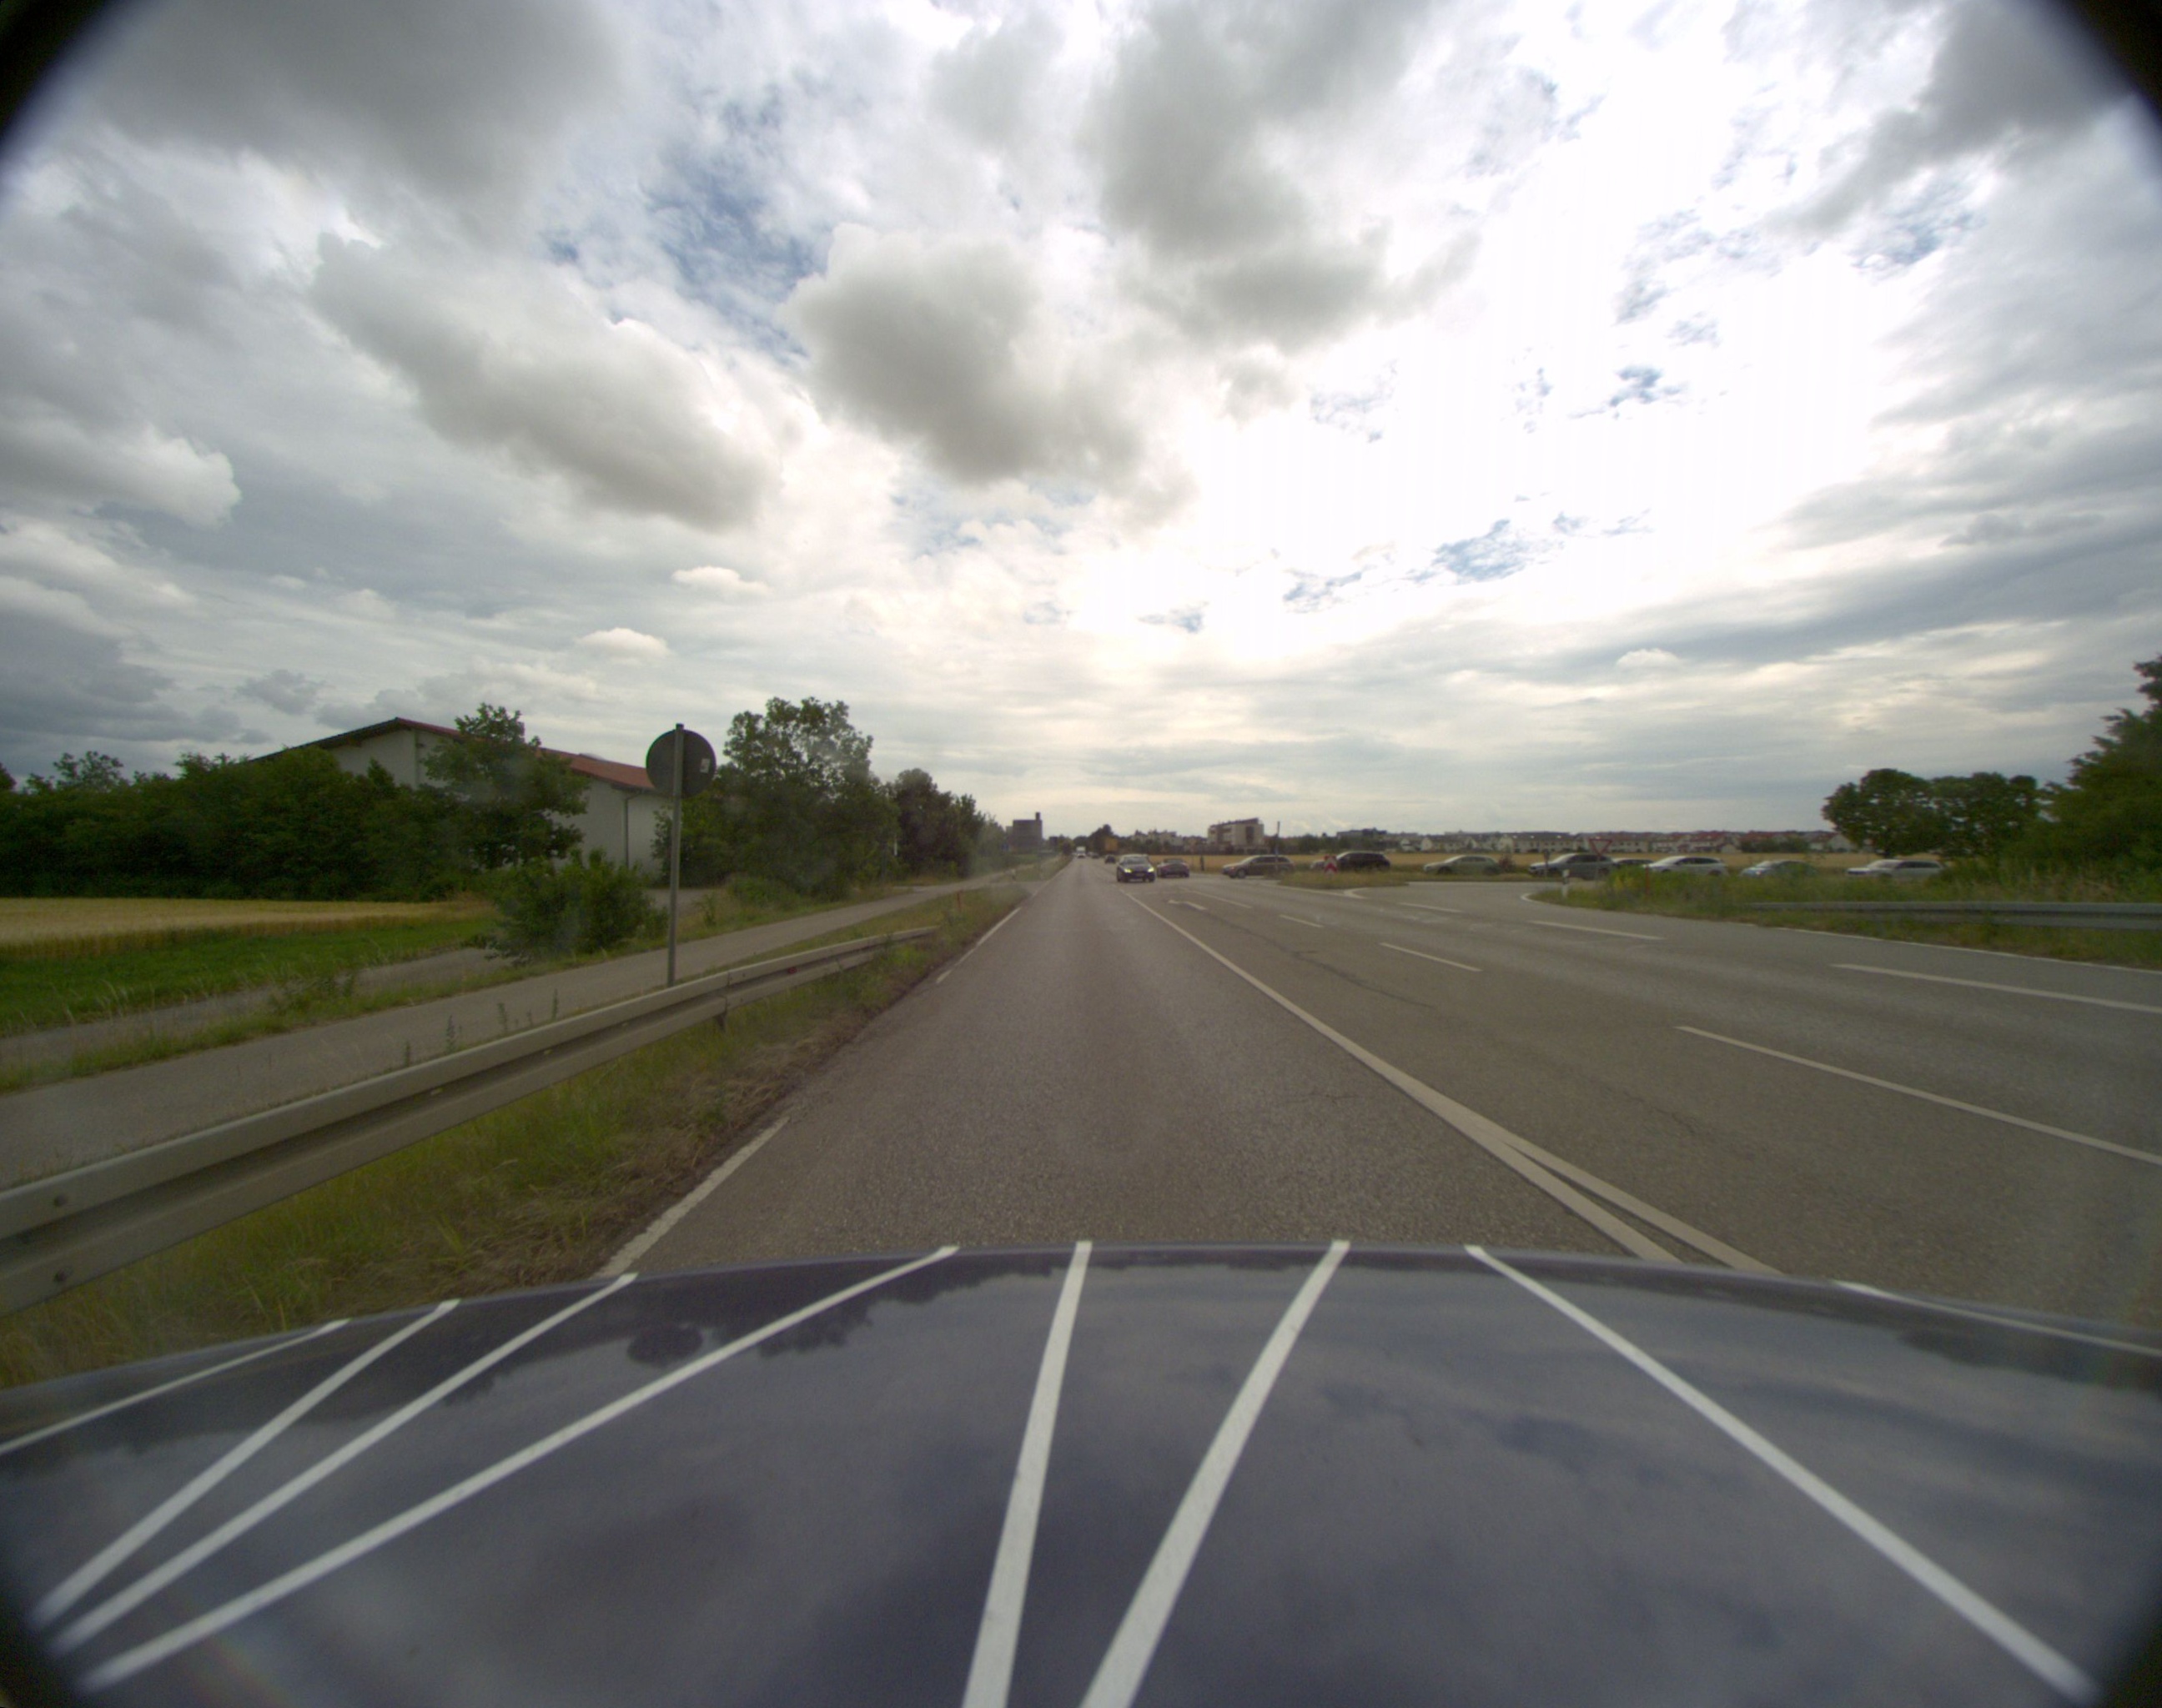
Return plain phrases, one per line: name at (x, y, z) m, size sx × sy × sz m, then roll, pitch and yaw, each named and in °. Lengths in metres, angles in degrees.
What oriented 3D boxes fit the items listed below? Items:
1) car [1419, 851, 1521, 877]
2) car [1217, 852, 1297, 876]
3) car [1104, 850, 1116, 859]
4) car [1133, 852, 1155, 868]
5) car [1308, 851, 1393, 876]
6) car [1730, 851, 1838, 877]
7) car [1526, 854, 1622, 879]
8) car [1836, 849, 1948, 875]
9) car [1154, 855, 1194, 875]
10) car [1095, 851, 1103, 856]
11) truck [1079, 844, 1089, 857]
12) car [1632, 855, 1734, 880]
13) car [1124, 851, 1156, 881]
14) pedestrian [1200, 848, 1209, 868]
car at (24.176, 0.609, 47.378) m, size 5.295 × 1.512 × 1.912 m, roll 0°, pitch 1°, yaw 6°
car at (10.934, 0.634, 47.418) m, size 4.465 × 1.416 × 1.909 m, roll -1°, pitch 1°, yaw -8°
car at (4.926, 0.101, 129.355) m, size 1.683 × 1.512 × 4.395 m, roll -2°, pitch 1°, yaw 0°
car at (6.243, 0.601, 75.213) m, size 1.746 × 1.521 × 4.198 m, roll -1°, pitch 0°, yaw -1°
car at (16.902, 0.568, 47.810) m, size 4.749 × 1.523 × 1.912 m, roll 0°, pitch 1°, yaw 6°
car at (42.295, 0.593, 45.797) m, size 4.500 × 1.474 × 1.912 m, roll 0°, pitch 1°, yaw 6°
car at (30.288, 0.767, 46.806) m, size 4.633 × 1.508 × 1.912 m, roll 0°, pitch 1°, yaw 6°
car at (48.392, 0.485, 45.384) m, size 4.501 × 1.474 × 1.911 m, roll 0°, pitch 1°, yaw 3°
car at (6.313, 0.725, 52.178) m, size 2.170 × 1.277 × 4.236 m, roll -2°, pitch 0°, yaw -1°
car at (4.639, -0.140, 198.215) m, size 1.740 × 1.450 × 4.130 m, roll -1°, pitch 1°, yaw -2°
truck at (0.817, -0.972, 222.632) m, size 2.813 × 3.588 × 11.218 m, roll 0°, pitch 0°, yaw 0°
car at (36.416, 0.800, 46.065) m, size 4.500 × 1.474 × 1.912 m, roll 0°, pitch 1°, yaw 6°
car at (3.457, 0.685, 45.150) m, size 1.706 × 1.602 × 4.482 m, roll -2°, pitch 0°, yaw 3°
pedestrian at (10.350, 0.332, 63.718) m, size 0.595 × 1.596 × 0.866 m, roll 2°, pitch 1°, yaw -2°
